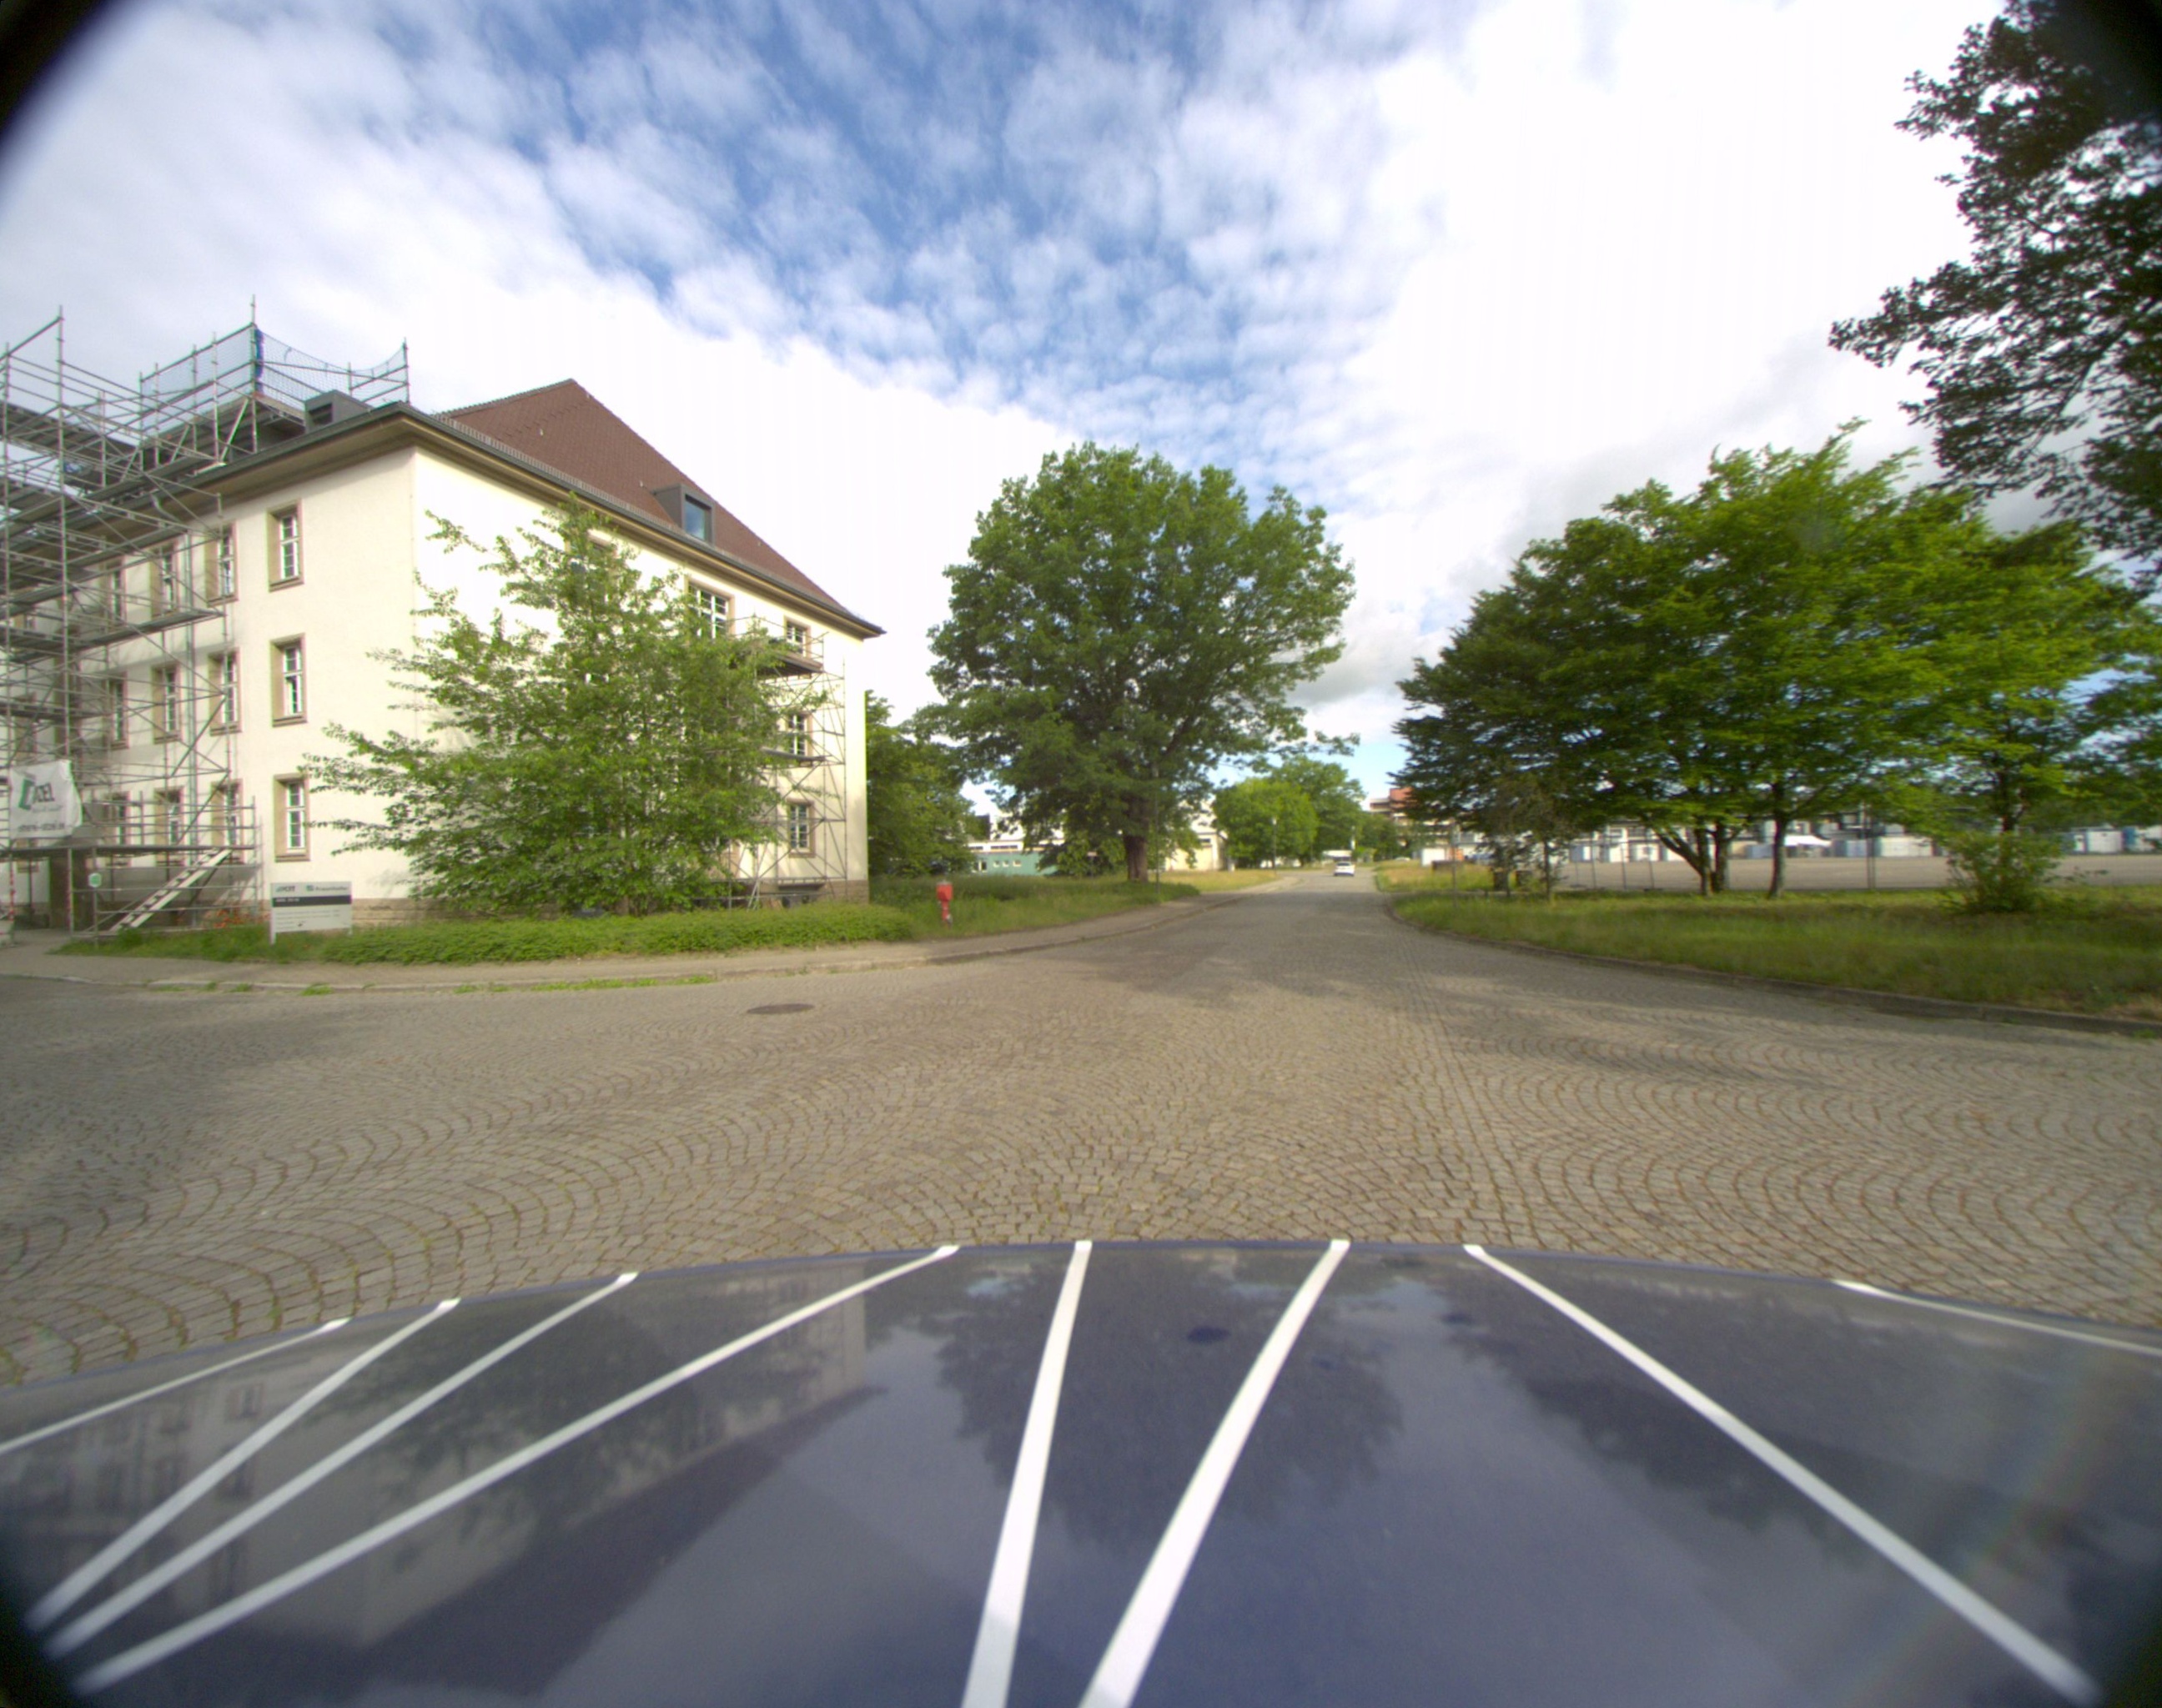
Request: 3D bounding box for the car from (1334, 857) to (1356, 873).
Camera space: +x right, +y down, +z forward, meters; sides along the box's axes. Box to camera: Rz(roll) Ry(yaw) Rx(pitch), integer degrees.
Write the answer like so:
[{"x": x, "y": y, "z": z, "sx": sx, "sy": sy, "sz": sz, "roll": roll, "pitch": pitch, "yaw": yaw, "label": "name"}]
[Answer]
[{"x": 25.711, "y": 1.058, "z": 73.832, "sx": 1.851, "sy": 1.428, "sz": 4.713, "roll": -2, "pitch": -1, "yaw": 20, "label": "car"}]
